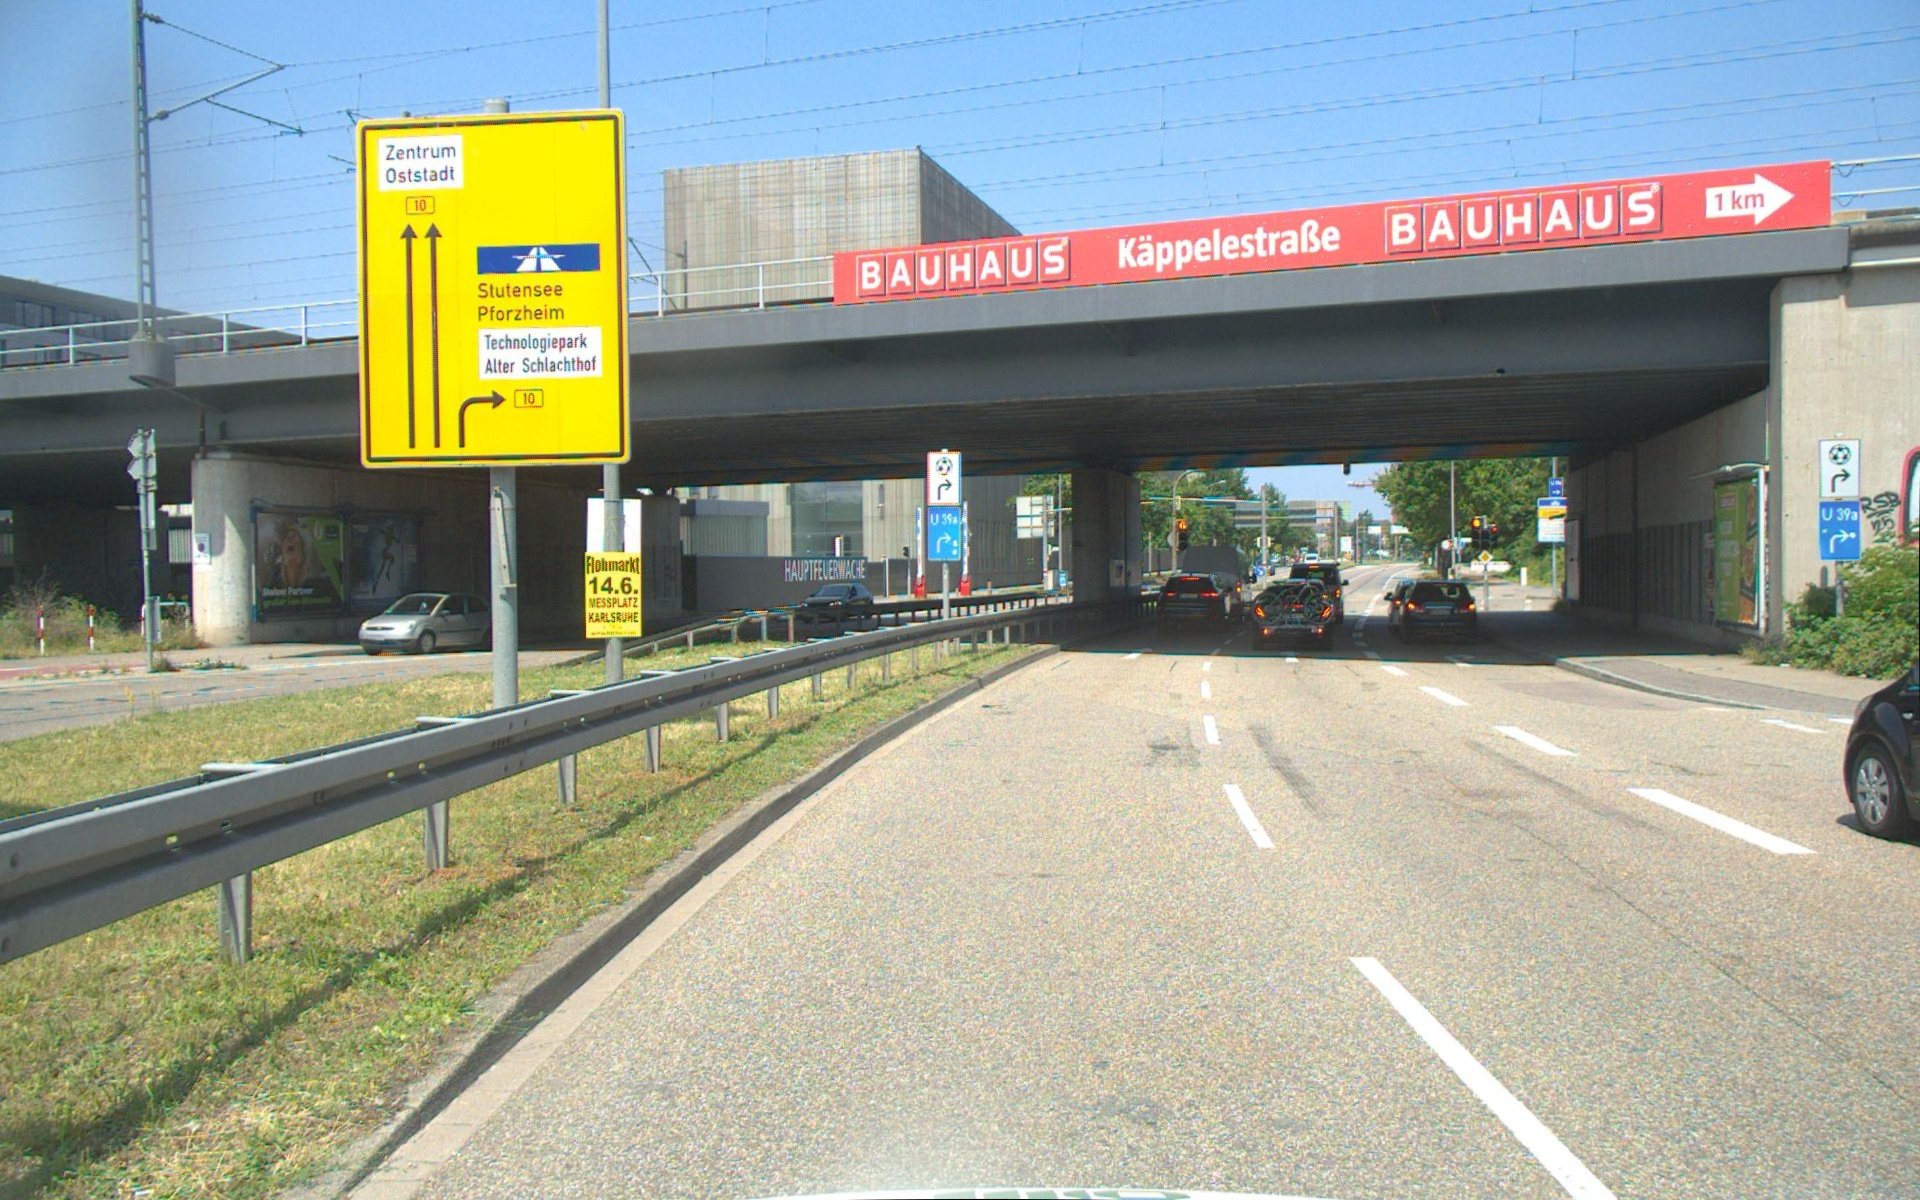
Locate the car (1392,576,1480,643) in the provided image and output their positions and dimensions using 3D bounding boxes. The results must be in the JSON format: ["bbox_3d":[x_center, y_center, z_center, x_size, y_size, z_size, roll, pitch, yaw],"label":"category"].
[{"bbox_3d":[11.790,0.223,41.173,1.801,1.596,4.003,0,0,12],"label":"car"}]

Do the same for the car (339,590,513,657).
[{"bbox_3d":[-12.806,0.551,39.927,1.952,1.466,4.001,-2,-1,19],"label":"car"}]

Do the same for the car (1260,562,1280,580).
[{"bbox_3d":[30.422,-2.801,162.295,1.814,1.651,4.003,0,0,11],"label":"car"}]

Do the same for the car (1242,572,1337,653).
[{"bbox_3d":[7.330,0.248,36.490,1.915,1.662,4.283,0,0,13],"label":"car"}]

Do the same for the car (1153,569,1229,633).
[{"bbox_3d":[6.712,0.033,47.710,1.899,1.751,4.003,0,0,12],"label":"car"}]

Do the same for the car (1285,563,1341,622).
[{"bbox_3d":[11.982,-0.237,56.218,1.801,1.923,4.003,0,0,12],"label":"car"}]

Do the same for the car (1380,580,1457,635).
[{"bbox_3d":[13.149,0.201,47.577,1.864,1.515,4.003,0,0,12],"label":"car"}]

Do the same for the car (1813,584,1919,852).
[{"bbox_3d":[6.677,0.722,9.287,1.730,1.627,4.078,0,1,1],"label":"car"}]

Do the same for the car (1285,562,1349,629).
[{"bbox_3d":[10.751,-0.128,49.870,1.801,1.923,4.003,0,0,12],"label":"car"}]

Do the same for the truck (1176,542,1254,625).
[{"bbox_3d":[8.494,-0.533,54.745,2.023,2.582,4.003,-2,0,16],"label":"truck"}]

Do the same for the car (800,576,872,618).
[{"bbox_3d":[-4.997,-0.129,66.951,1.814,1.651,4.003,0,0,13],"label":"car"}]
